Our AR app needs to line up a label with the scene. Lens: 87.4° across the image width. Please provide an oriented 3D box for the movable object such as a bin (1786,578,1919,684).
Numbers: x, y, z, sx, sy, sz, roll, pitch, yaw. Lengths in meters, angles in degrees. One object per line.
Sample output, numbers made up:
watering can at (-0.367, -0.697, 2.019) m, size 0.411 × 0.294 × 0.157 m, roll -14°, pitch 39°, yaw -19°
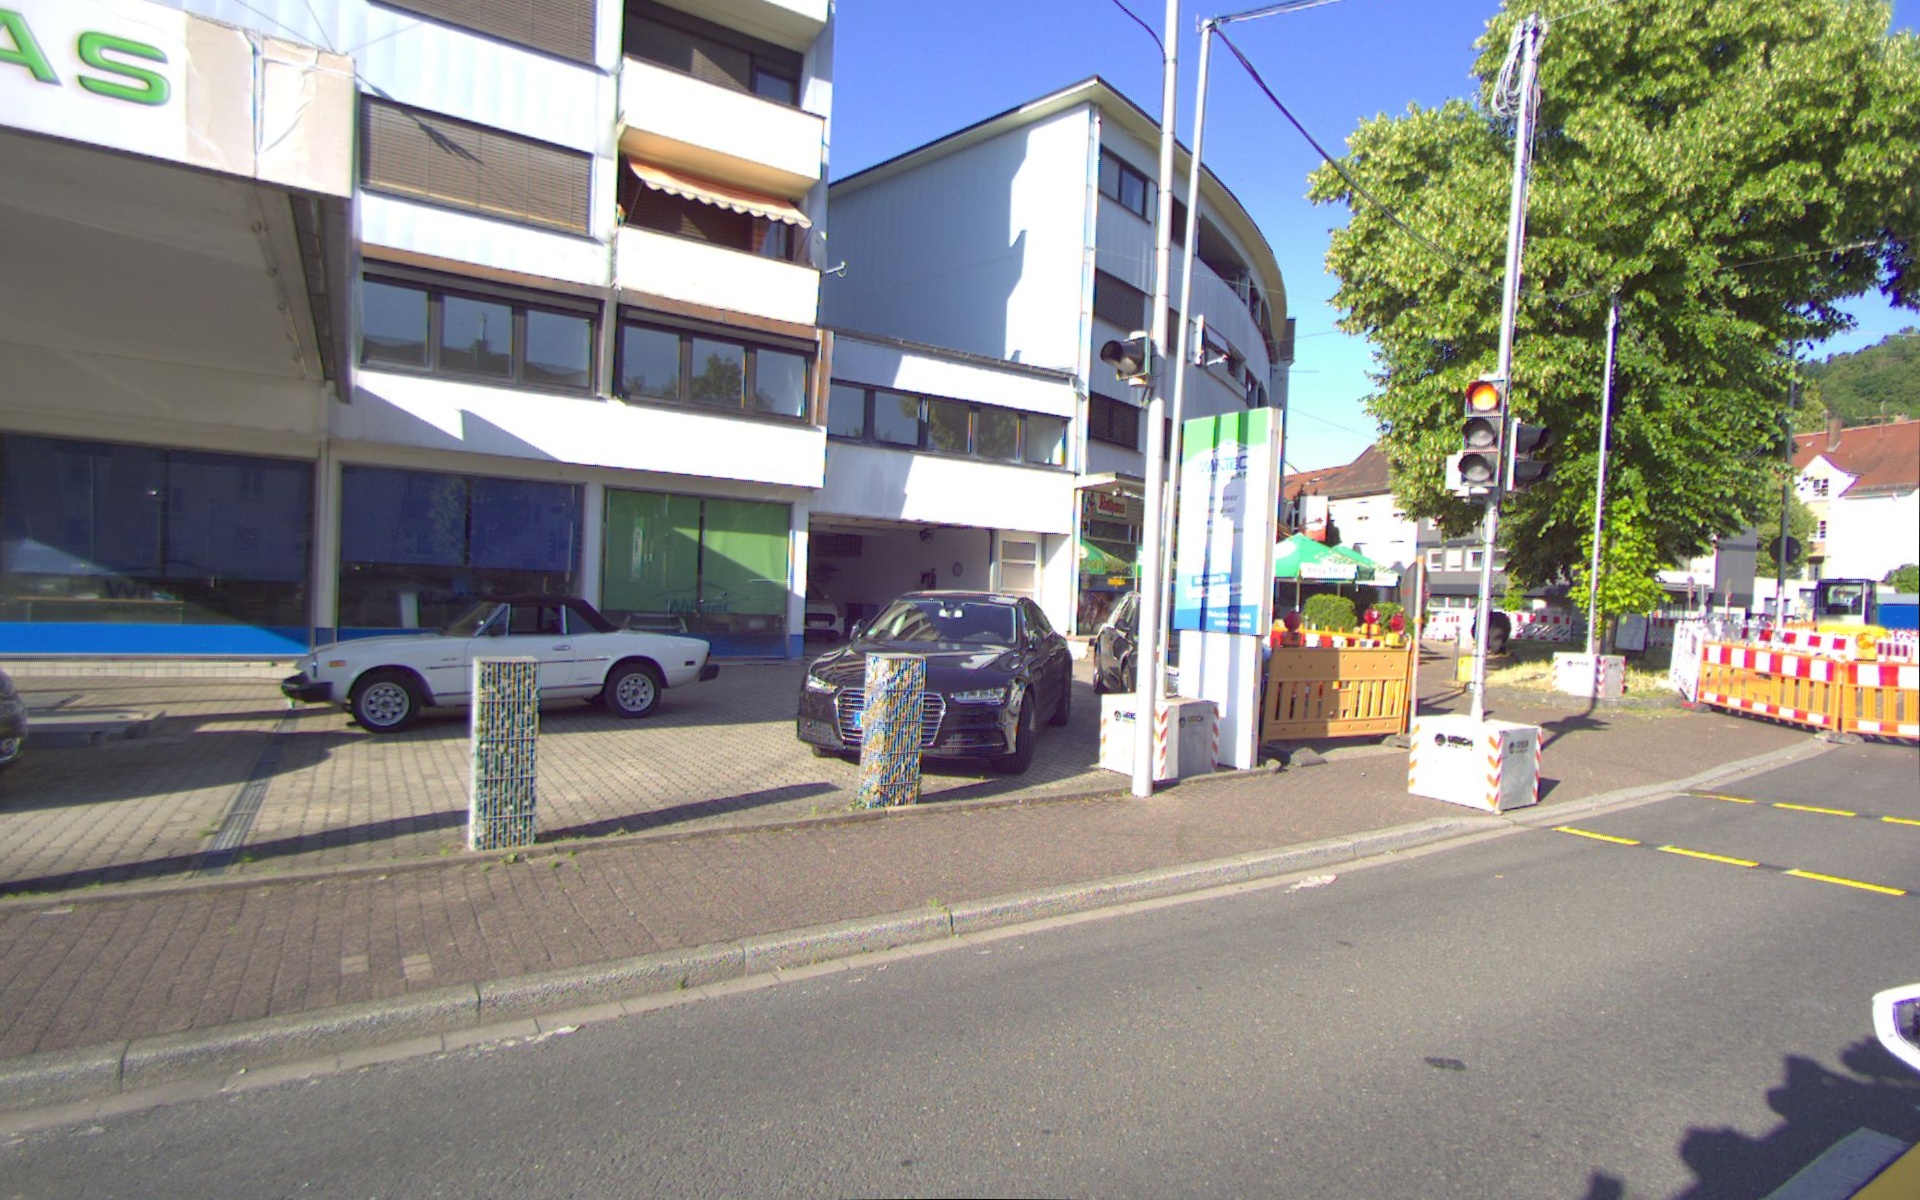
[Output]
movable object such as a bin at (21.546, 0.702, 24.139) m, size 3.882 × 2.356 × 1.635 m, roll 1°, pitch 0°, yaw -36°

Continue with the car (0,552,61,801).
car at (-7.479, 0.407, 5.857) m, size 3.305 × 1.506 × 1.543 m, roll 2°, pitch 0°, yaw 8°

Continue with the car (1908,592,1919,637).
car at (49.522, 0.791, 48.407) m, size 6.043 × 2.149 × 2.586 m, roll 2°, pitch 0°, yaw -12°

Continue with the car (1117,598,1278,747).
car at (2.761, 0.745, 12.078) m, size 1.564 × 1.457 × 3.887 m, roll 1°, pitch 0°, yaw 11°

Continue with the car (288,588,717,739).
car at (-4.672, 0.591, 10.486) m, size 3.865 × 1.315 × 1.511 m, roll 1°, pitch -1°, yaw -35°

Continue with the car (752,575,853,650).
car at (-3.891, 0.252, 24.379) m, size 1.550 × 1.629 × 3.734 m, roll 2°, pitch 1°, yaw -23°

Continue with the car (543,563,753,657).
car at (-6.097, 0.217, 19.708) m, size 3.593 × 1.696 × 1.707 m, roll 2°, pitch 0°, yaw -34°

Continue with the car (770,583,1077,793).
car at (-0.022, 0.649, 9.569) m, size 1.893 × 1.457 × 4.692 m, roll 1°, pitch -1°, yaw 11°
